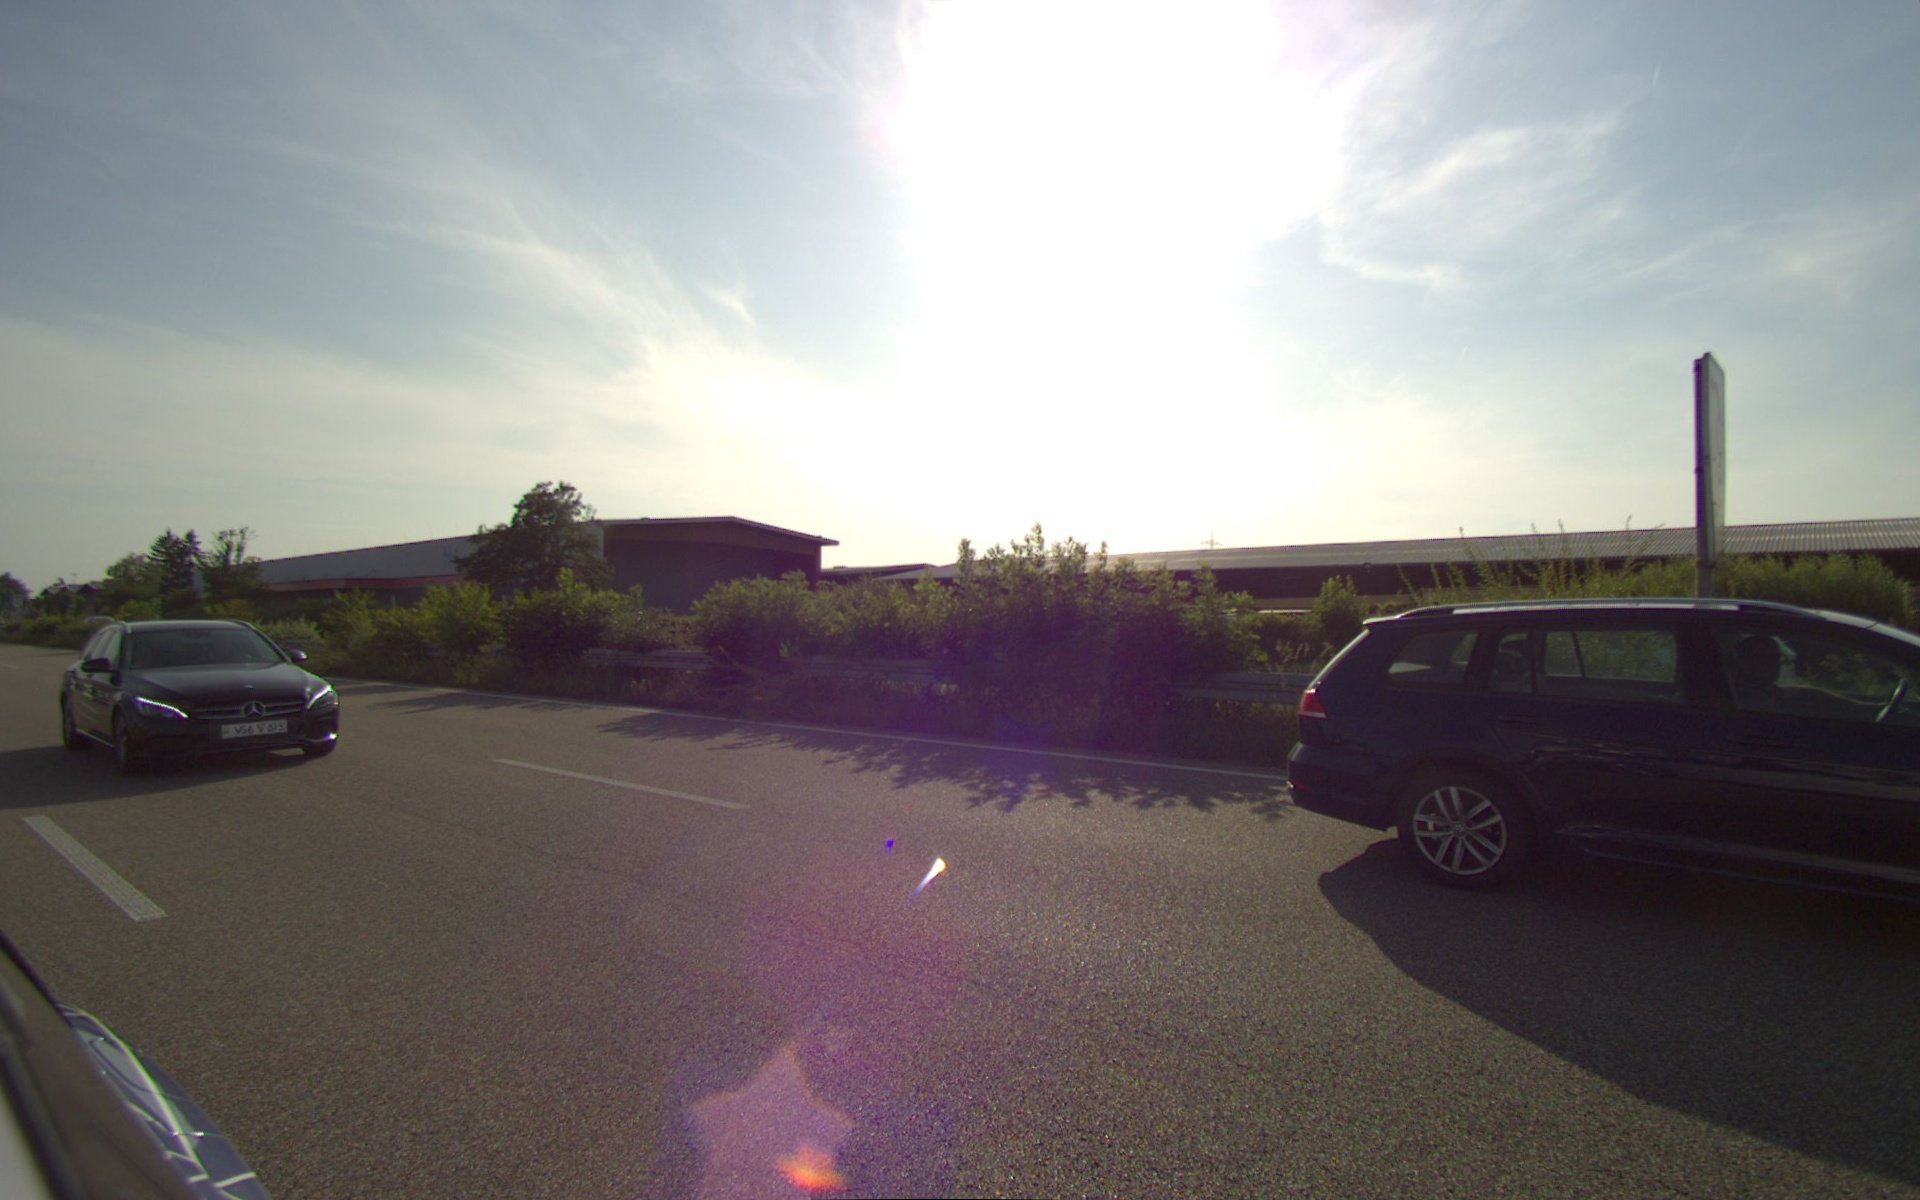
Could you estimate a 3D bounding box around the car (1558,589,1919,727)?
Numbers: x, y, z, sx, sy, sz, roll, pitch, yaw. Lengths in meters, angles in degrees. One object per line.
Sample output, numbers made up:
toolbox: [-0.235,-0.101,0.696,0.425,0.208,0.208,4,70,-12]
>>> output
car: [10.163,0.693,13.028,3.998,1.539,1.684,-1,-2,42]

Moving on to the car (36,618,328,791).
car: [-8.570,0.941,10.955,5.020,1.482,1.556,-1,-1,41]

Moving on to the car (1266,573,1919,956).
car: [4.045,0.655,4.723,4.774,1.482,1.629,-1,-2,41]
